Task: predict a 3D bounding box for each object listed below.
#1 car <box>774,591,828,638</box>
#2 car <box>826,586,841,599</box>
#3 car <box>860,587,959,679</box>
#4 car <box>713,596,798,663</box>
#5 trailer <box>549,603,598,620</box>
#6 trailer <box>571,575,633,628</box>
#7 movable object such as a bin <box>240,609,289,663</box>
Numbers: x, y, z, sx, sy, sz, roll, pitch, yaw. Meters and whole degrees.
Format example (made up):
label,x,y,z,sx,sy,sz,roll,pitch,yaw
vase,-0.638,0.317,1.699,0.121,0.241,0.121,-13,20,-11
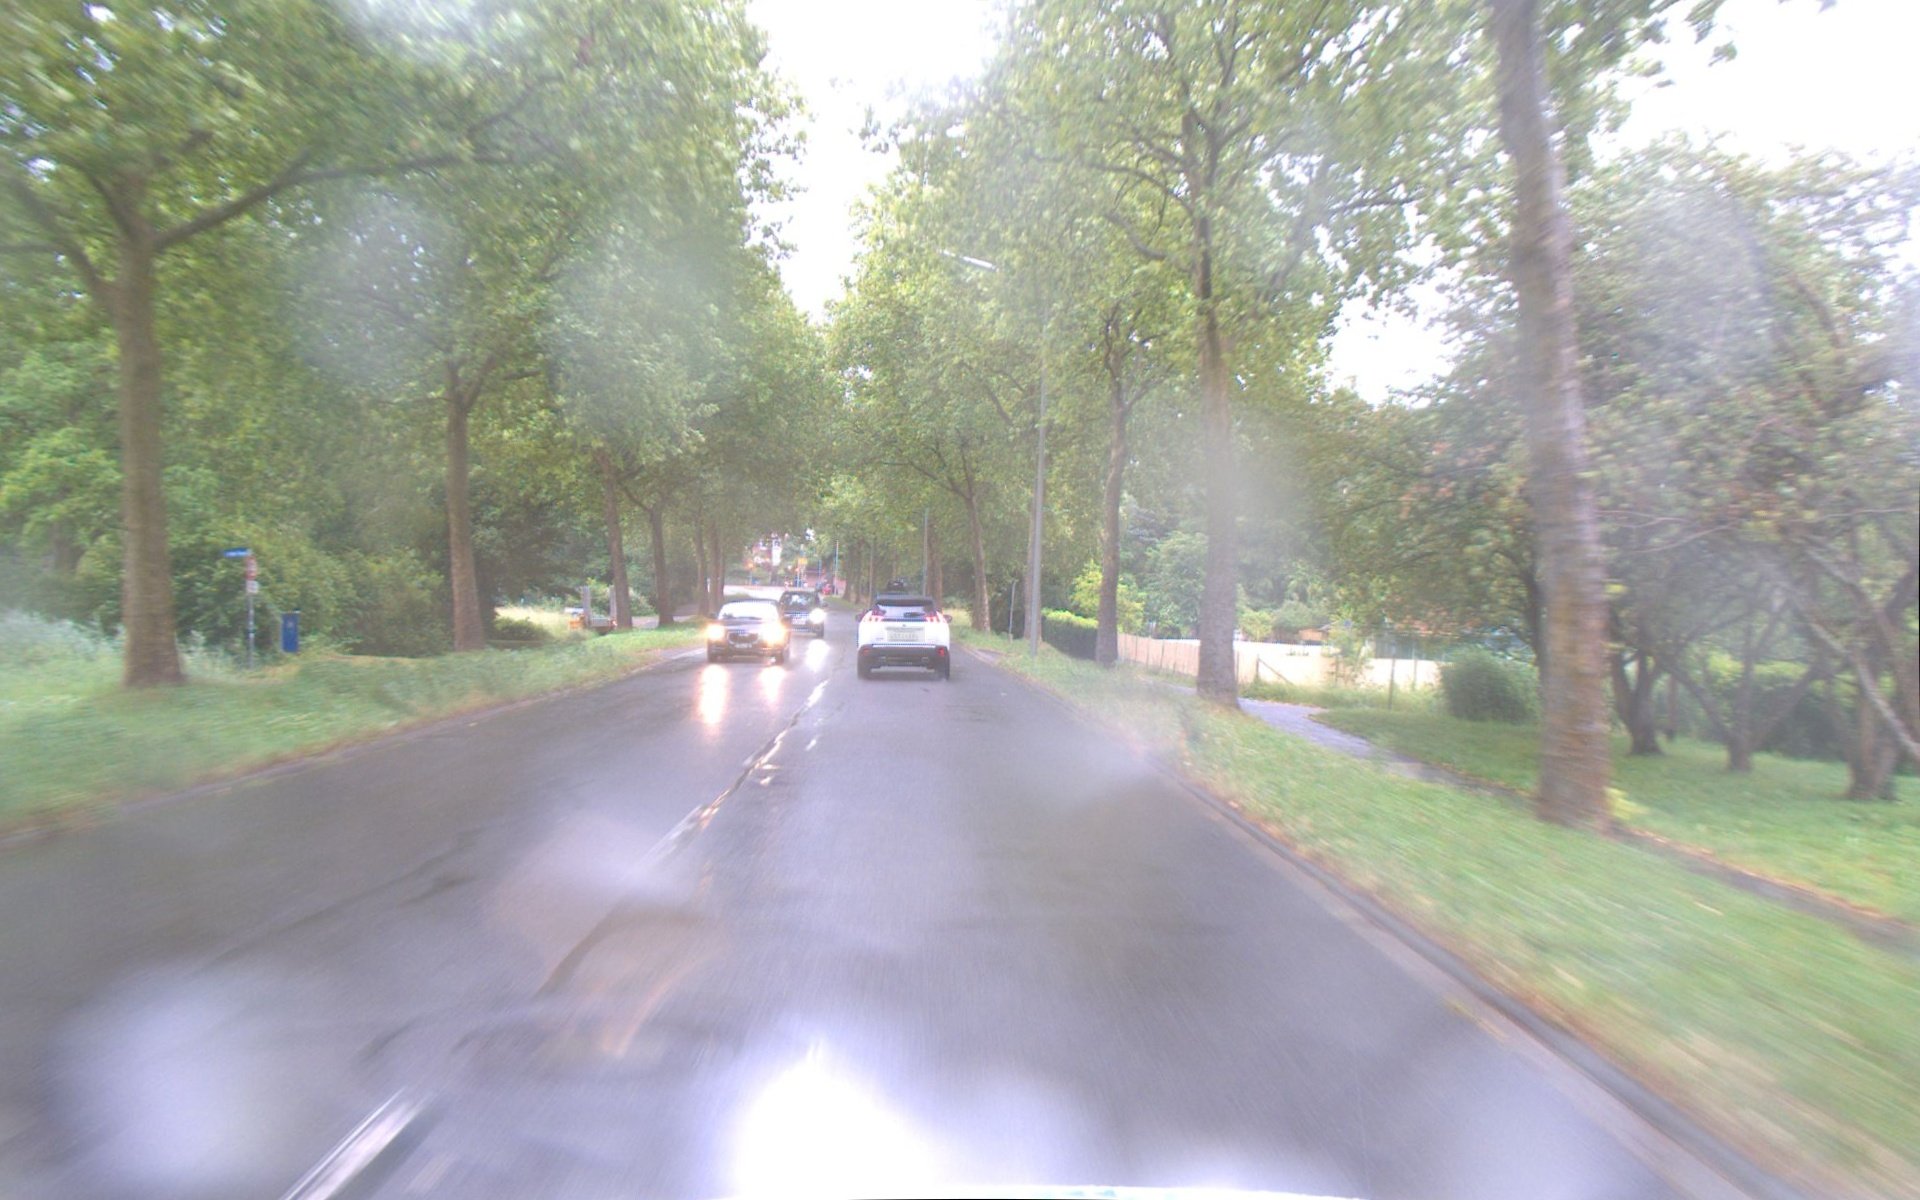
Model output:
label,x,y,z,sx,sy,sz,roll,pitch,yaw
car,-5.812,0.498,60.796,1.697,1.616,4.308,2,0,-3
car,-16.447,-0.927,214.496,1.791,1.624,3.652,2,0,-3
car,-0.998,0.593,32.007,1.758,1.606,3.842,2,0,-3
car,-4.684,0.648,38.421,1.697,1.448,4.222,1,0,-4
trailer,-28.589,0.829,122.531,3.491,1.199,1.817,1,0,-13
trailer,-18.800,0.053,87.040,2.436,2.612,5.327,2,0,-5
movable object such as a bin,-19.156,0.977,45.586,0.944,1.447,0.965,2,0,-5
